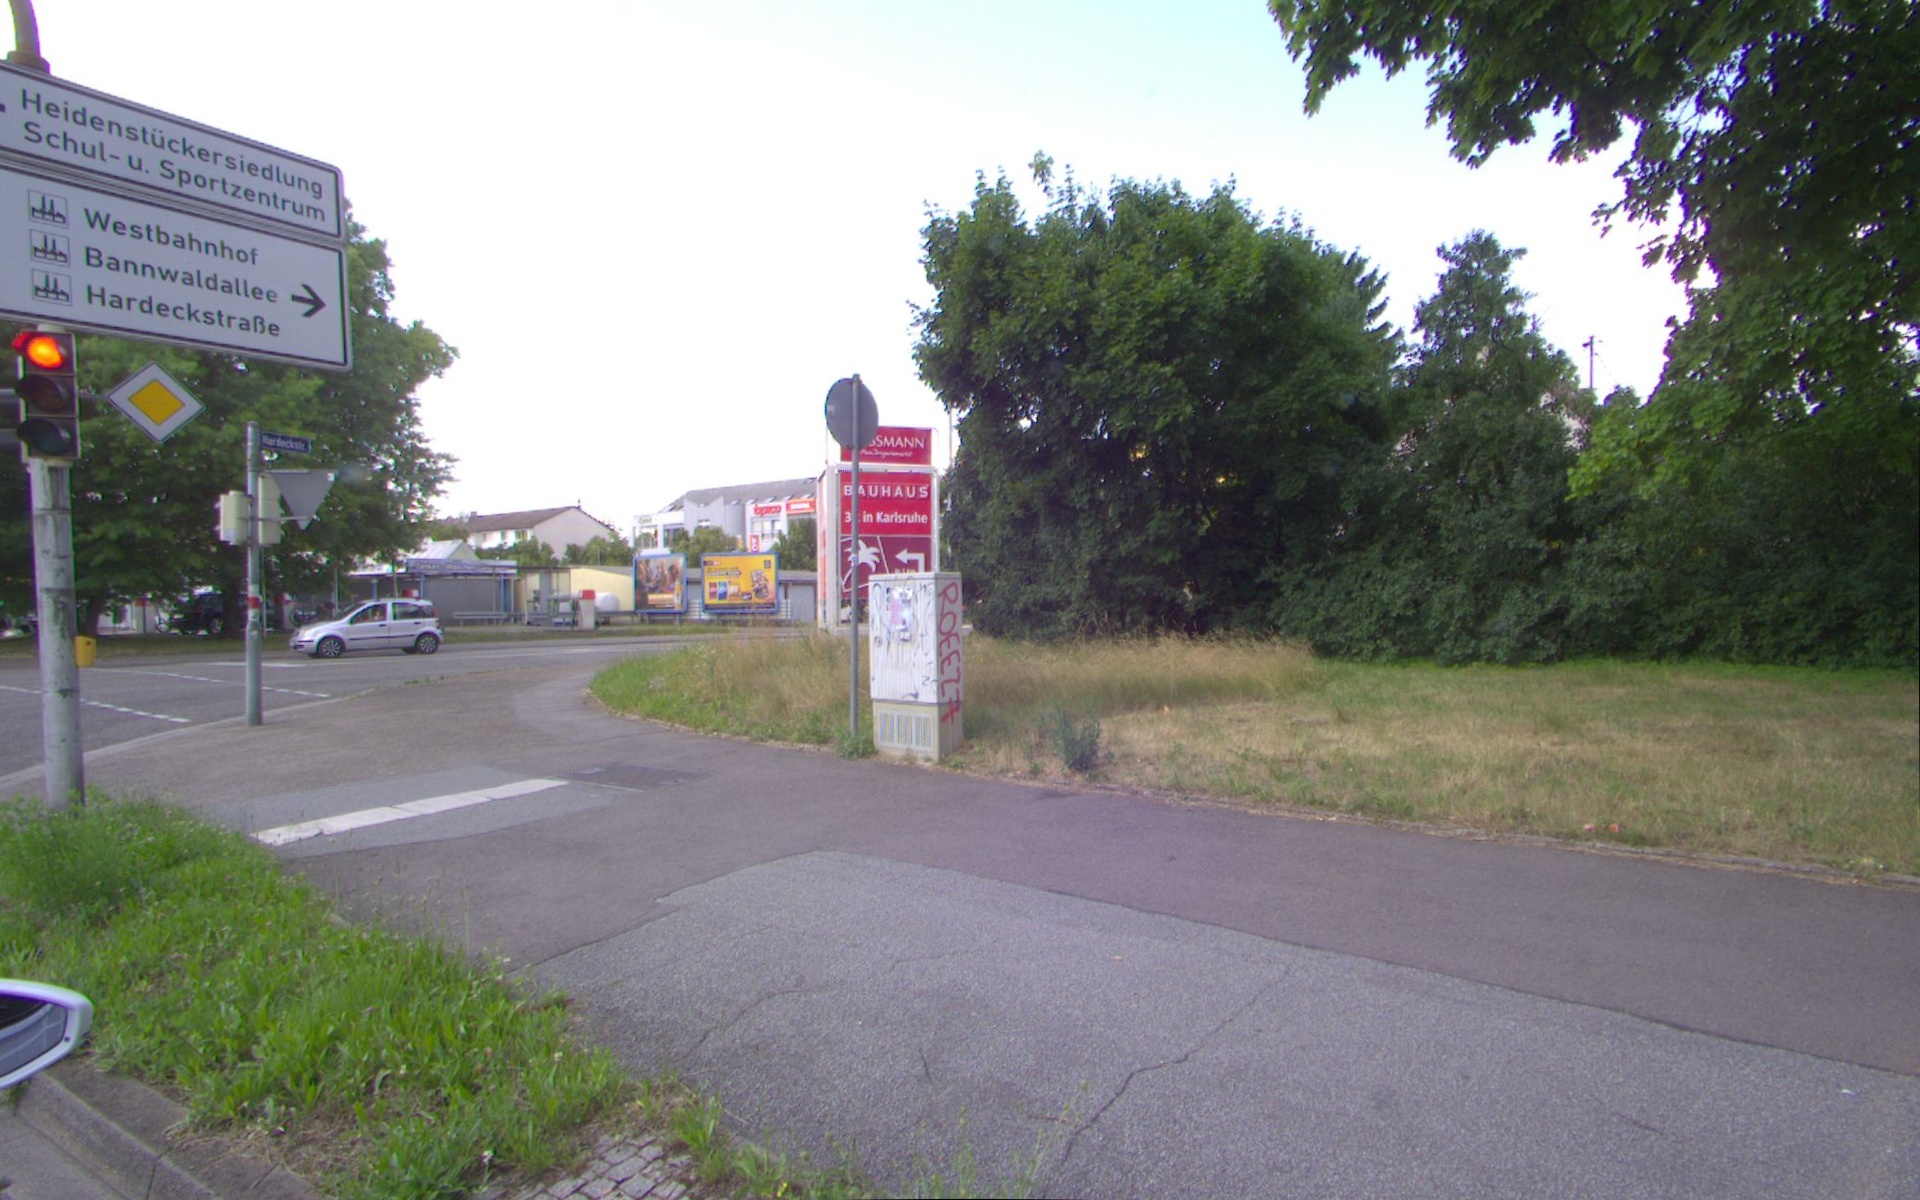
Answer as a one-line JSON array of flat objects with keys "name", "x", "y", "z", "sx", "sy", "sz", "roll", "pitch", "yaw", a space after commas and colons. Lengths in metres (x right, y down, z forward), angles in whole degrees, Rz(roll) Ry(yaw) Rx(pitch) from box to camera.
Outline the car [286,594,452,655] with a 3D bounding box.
[{"name": "car", "x": -15.797, "y": 0.615, "z": 26.877, "sx": 1.543, "sy": 1.537, "sz": 3.574, "roll": 0, "pitch": 0, "yaw": 45}]

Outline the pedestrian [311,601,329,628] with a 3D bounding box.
[{"name": "pedestrian", "x": -36.395, "y": 0.823, "z": 56.923, "sx": 0.616, "sy": 1.565, "sz": 0.651, "roll": 0, "pitch": 1, "yaw": 39}]

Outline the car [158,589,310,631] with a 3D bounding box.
[{"name": "car", "x": -29.481, "y": 0.383, "z": 40.841, "sx": 2.117, "sy": 1.617, "sz": 4.552, "roll": -1, "pitch": 0, "yaw": 22}]

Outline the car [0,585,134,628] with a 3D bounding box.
[{"name": "car", "x": -40.962, "y": 0.270, "z": 45.253, "sx": 2.117, "sy": 1.851, "sz": 5.184, "roll": -1, "pitch": 0, "yaw": 22}]

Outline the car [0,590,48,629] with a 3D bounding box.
[{"name": "car", "x": -50.137, "y": 0.501, "z": 50.905, "sx": 2.121, "sy": 2.031, "sz": 5.174, "roll": 0, "pitch": 0, "yaw": 29}]

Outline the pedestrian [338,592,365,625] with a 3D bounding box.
[{"name": "pedestrian", "x": -24.394, "y": 0.346, "z": 40.155, "sx": 0.752, "sy": 1.271, "sz": 0.645, "roll": 0, "pitch": -1, "yaw": -12}]

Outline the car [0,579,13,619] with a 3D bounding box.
[{"name": "car", "x": -61.277, "y": -0.024, "z": 62.411, "sx": 5.665, "sy": 2.486, "sz": 1.747, "roll": -1, "pitch": 1, "yaw": 31}]

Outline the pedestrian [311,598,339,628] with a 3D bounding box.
[{"name": "pedestrian", "x": -25.256, "y": 0.520, "z": 39.808, "sx": 0.752, "sy": 1.205, "sz": 0.645, "roll": 0, "pitch": -1, "yaw": -12}]
